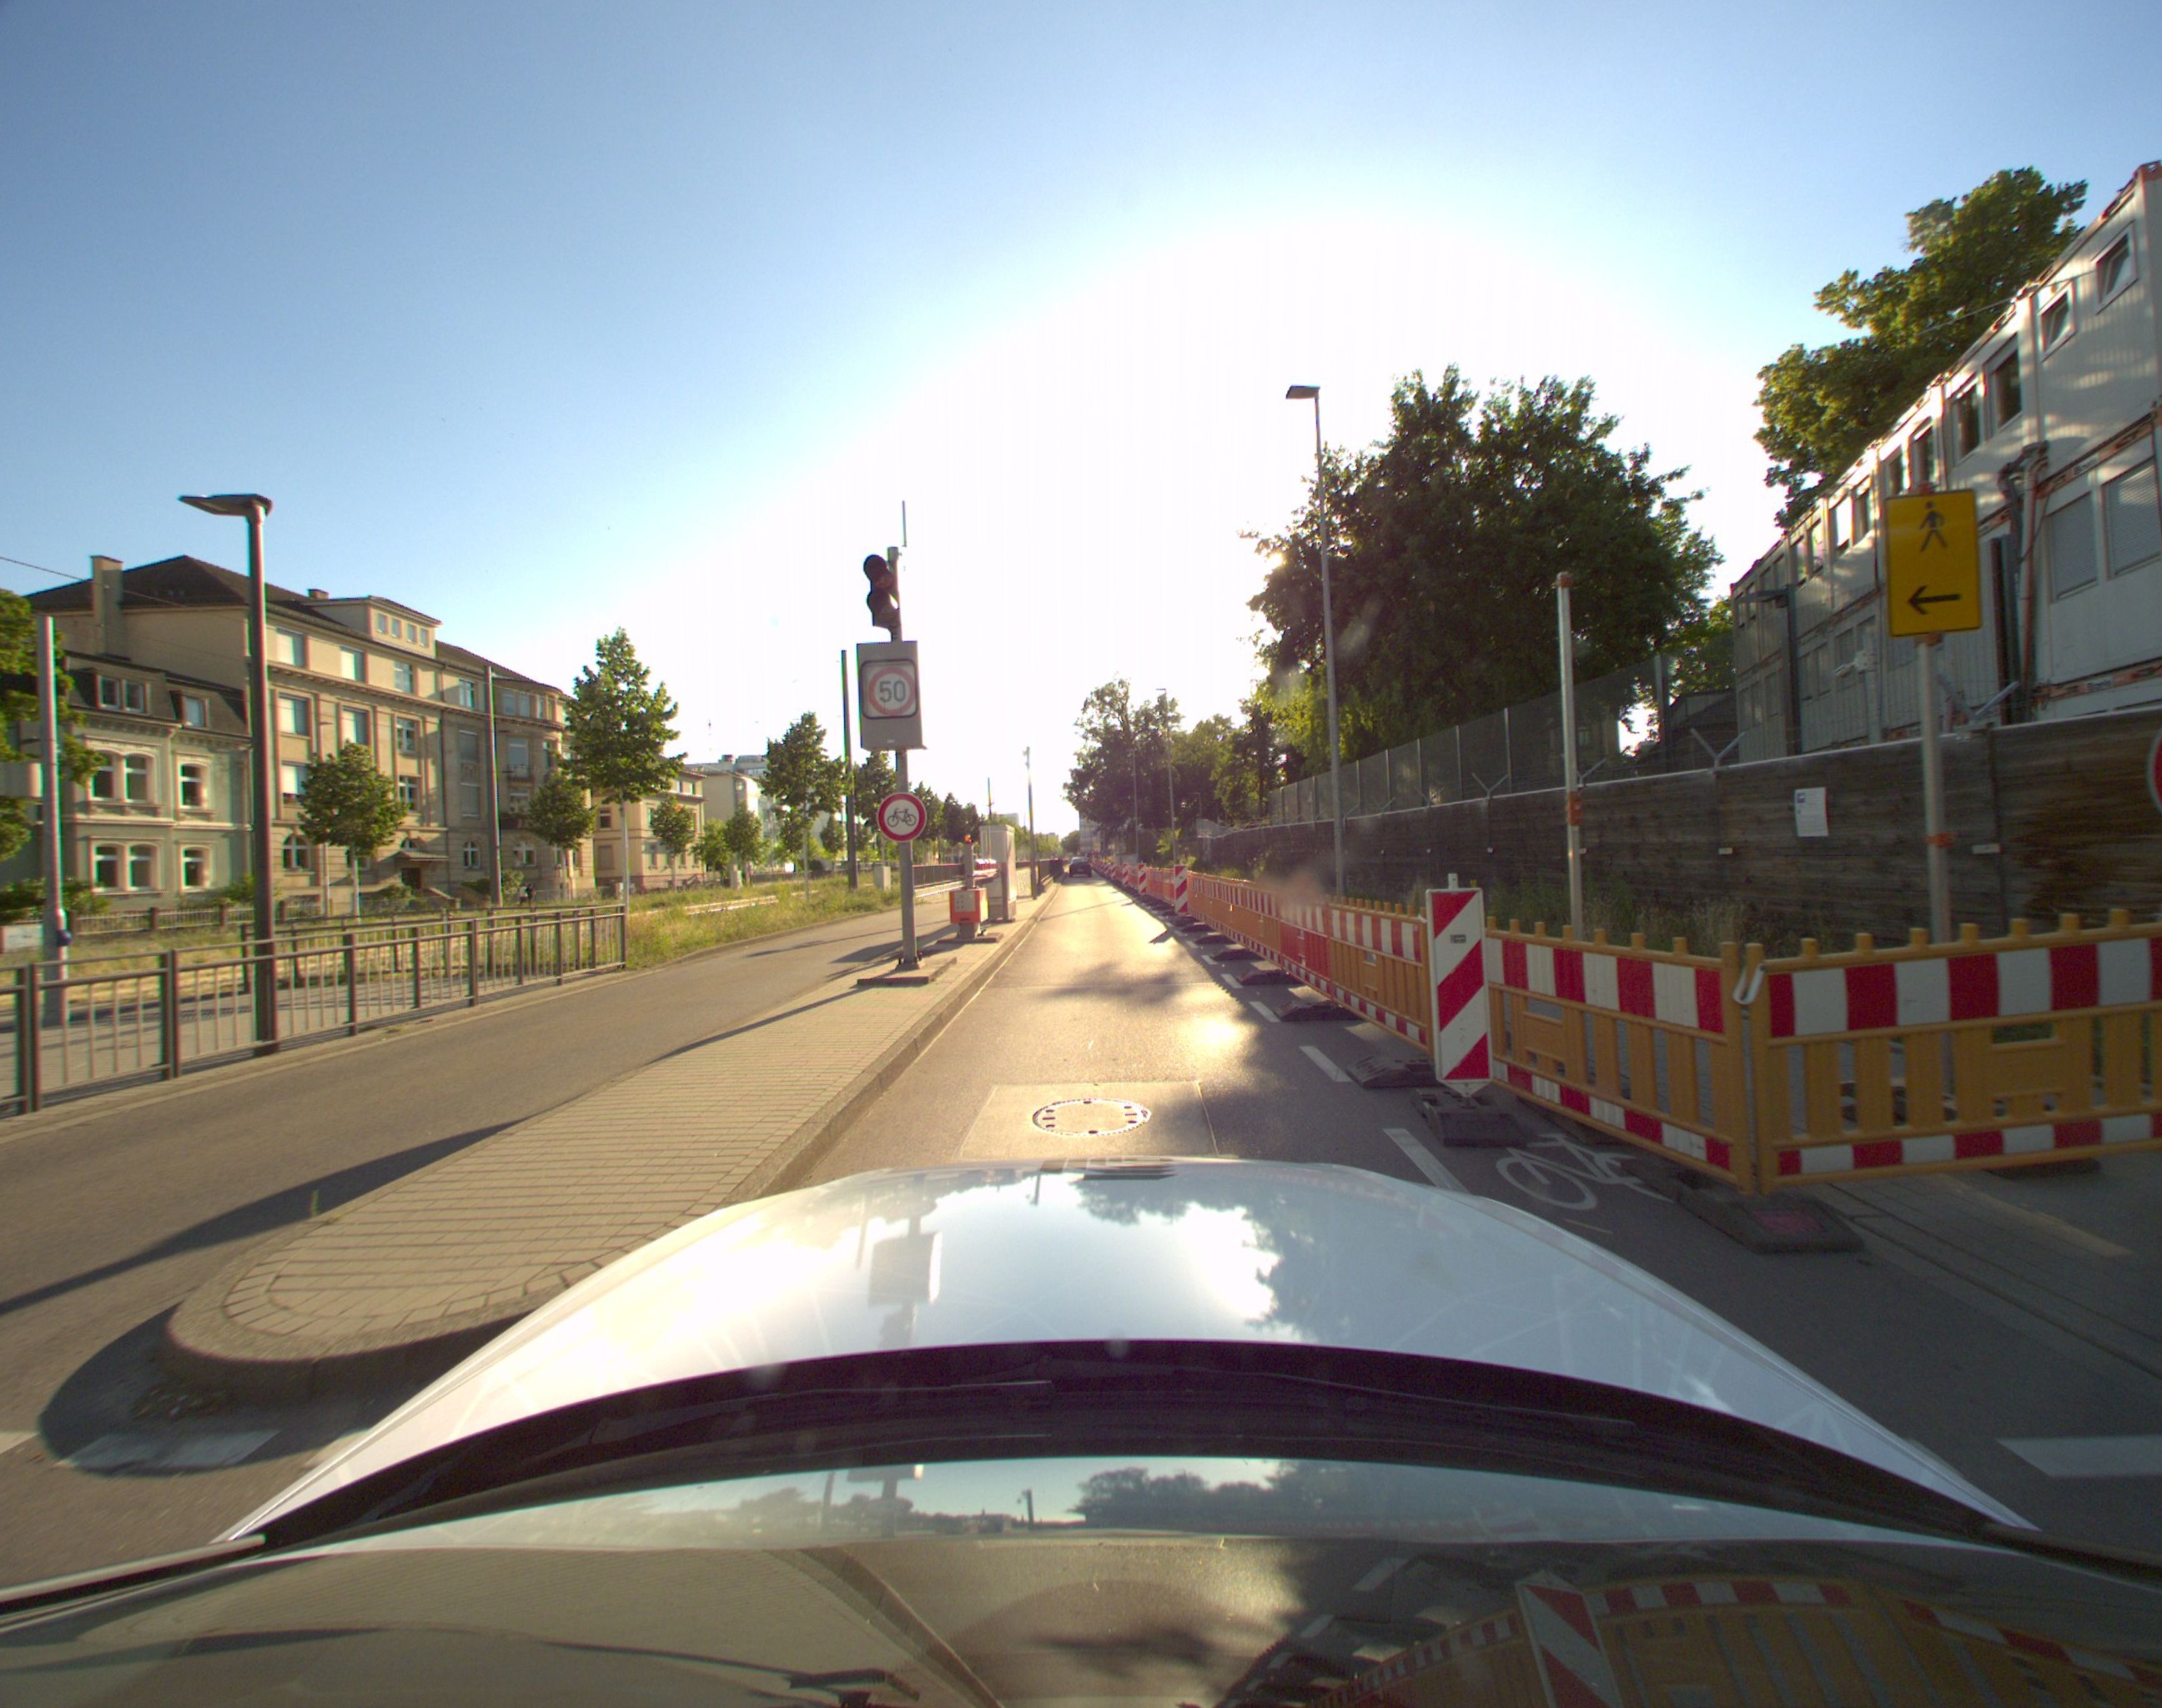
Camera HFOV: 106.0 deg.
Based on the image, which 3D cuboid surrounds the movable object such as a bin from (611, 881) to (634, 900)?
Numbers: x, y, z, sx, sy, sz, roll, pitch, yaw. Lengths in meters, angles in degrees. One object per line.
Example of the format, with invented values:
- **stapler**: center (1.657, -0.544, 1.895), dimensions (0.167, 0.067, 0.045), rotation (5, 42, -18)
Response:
- **movable object such as a bin**: center (-37.634, 2.967, 66.898), dimensions (1.201, 1.429, 1.079), rotation (-3, 0, -1)

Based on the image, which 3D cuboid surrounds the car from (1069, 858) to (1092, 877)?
- **car**: center (0.008, 1.197, 72.511), dimensions (1.998, 1.659, 4.000), rotation (-1, -1, 0)

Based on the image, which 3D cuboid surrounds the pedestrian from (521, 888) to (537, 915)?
- **pedestrian**: center (-36.064, 3.113, 53.186), dimensions (0.553, 1.720, 0.653), rotation (-3, -1, -1)

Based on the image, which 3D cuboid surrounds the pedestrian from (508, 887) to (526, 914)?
- **pedestrian**: center (-36.847, 3.053, 53.200), dimensions (0.654, 1.720, 0.653), rotation (-3, -1, -1)
